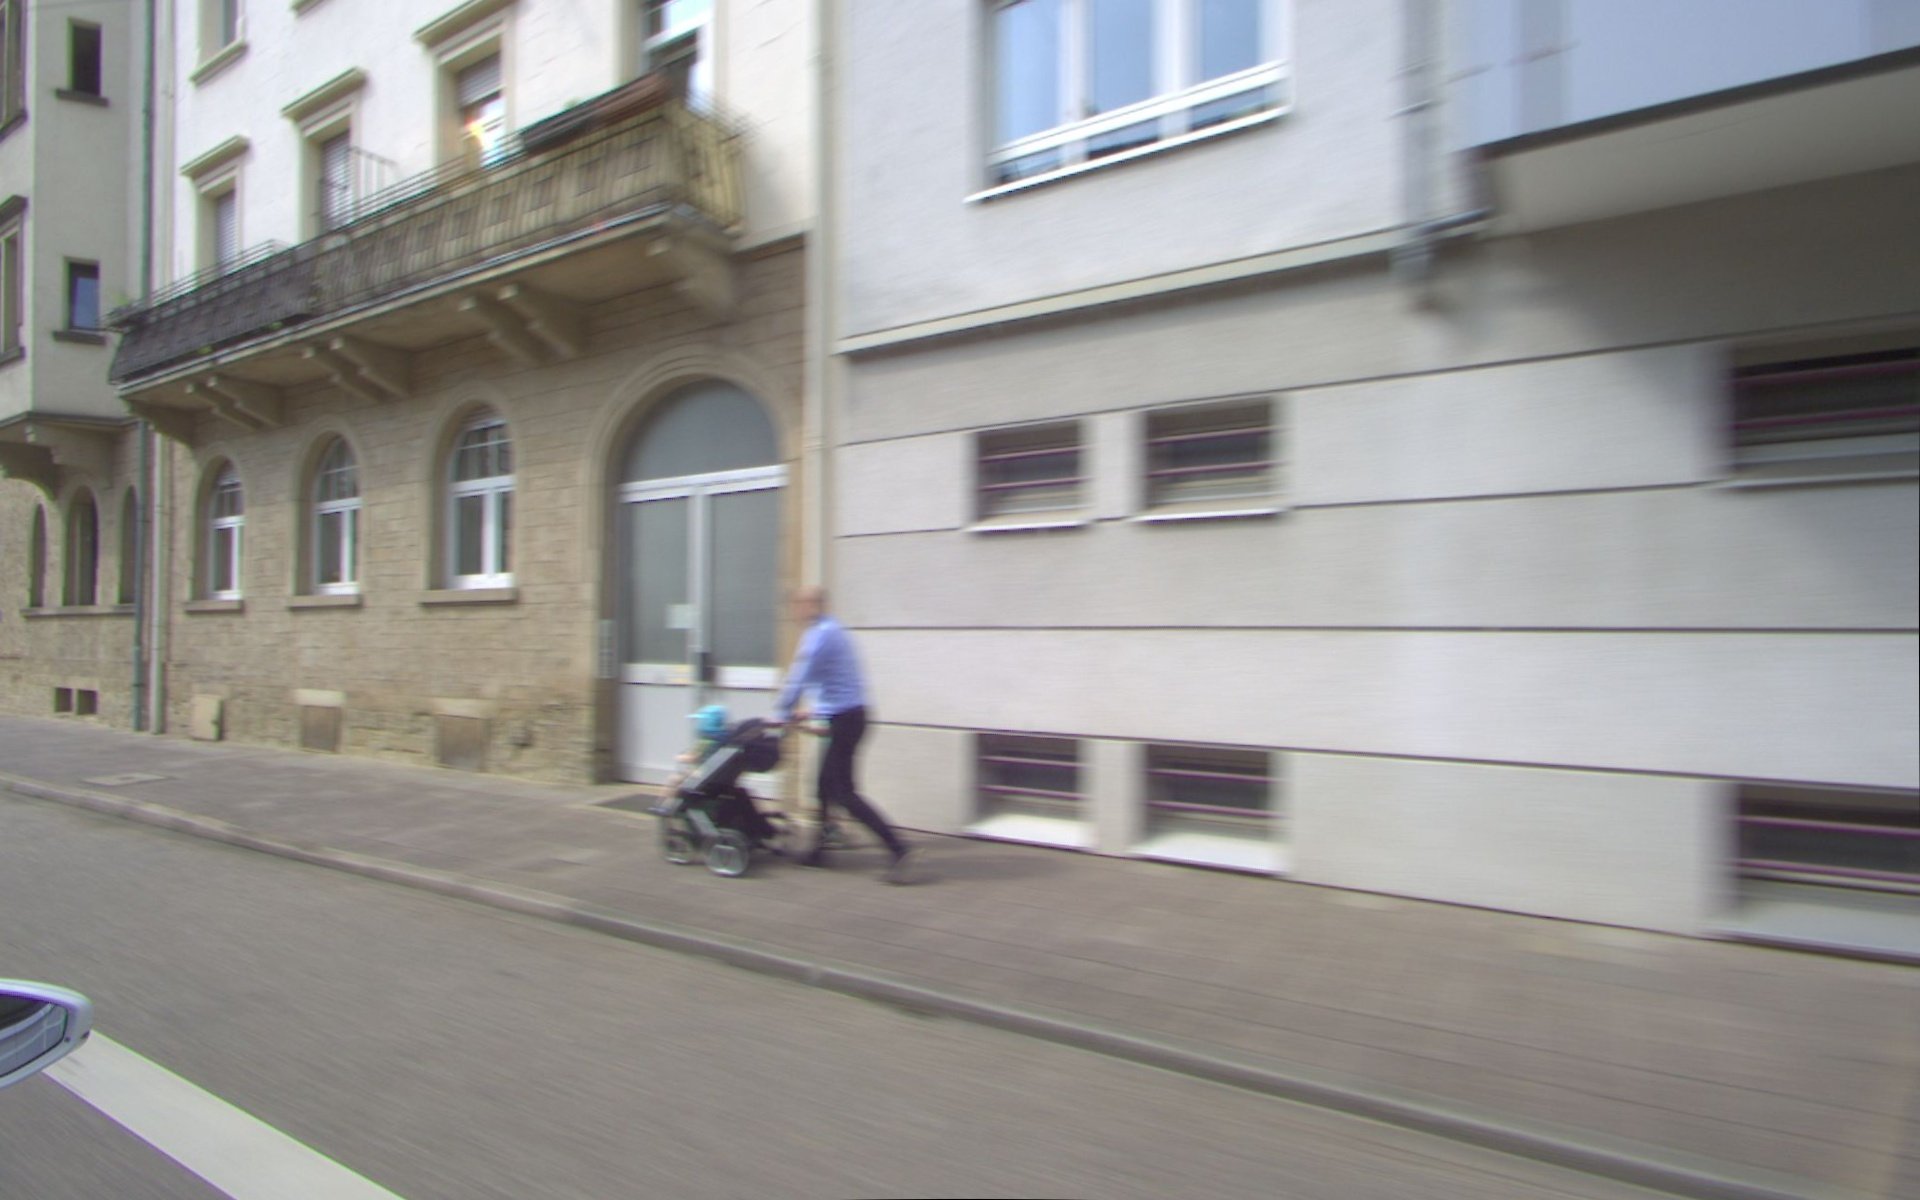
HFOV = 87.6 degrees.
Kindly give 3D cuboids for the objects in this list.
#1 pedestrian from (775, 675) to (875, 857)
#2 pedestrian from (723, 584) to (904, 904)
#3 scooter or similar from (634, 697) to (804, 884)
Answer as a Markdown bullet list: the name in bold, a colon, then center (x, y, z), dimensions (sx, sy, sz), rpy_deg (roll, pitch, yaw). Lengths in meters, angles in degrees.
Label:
- **pedestrian**: center (-0.915, 1.102, 6.830), dimensions (0.487, 1.149, 0.455), rpy_deg (0, -1, 33)
- **pedestrian**: center (-0.873, 0.795, 5.995), dimensions (0.865, 1.762, 0.619), rpy_deg (0, 1, 33)
- **scooter or similar**: center (-1.551, 1.184, 6.449), dimensions (0.893, 1.016, 0.591), rpy_deg (0, 2, 34)
